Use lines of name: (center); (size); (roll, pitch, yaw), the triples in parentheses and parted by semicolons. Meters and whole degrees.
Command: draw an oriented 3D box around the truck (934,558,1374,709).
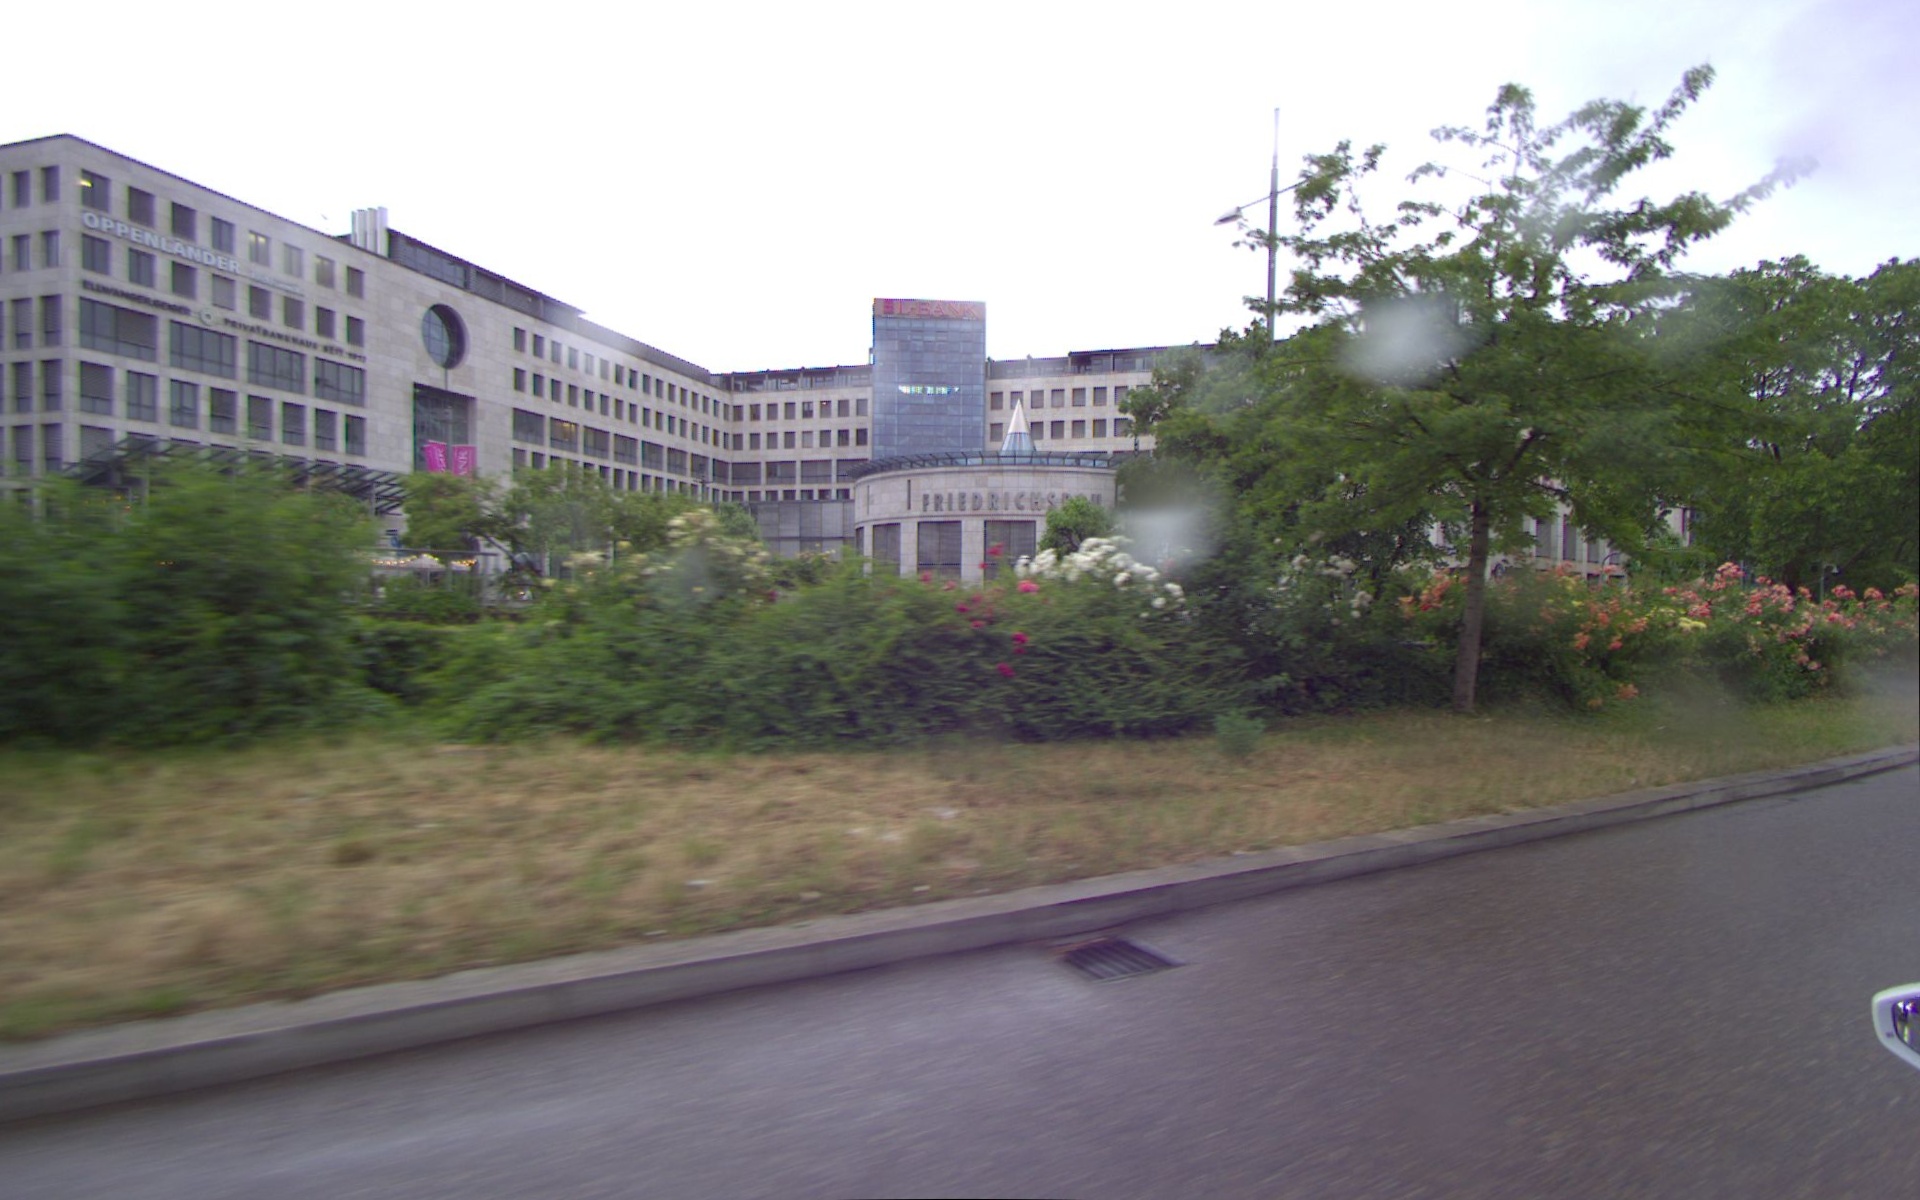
truck: (3.986, 0.661, 20.232); (8.363, 2.544, 3.356); (2, 0, -26)
